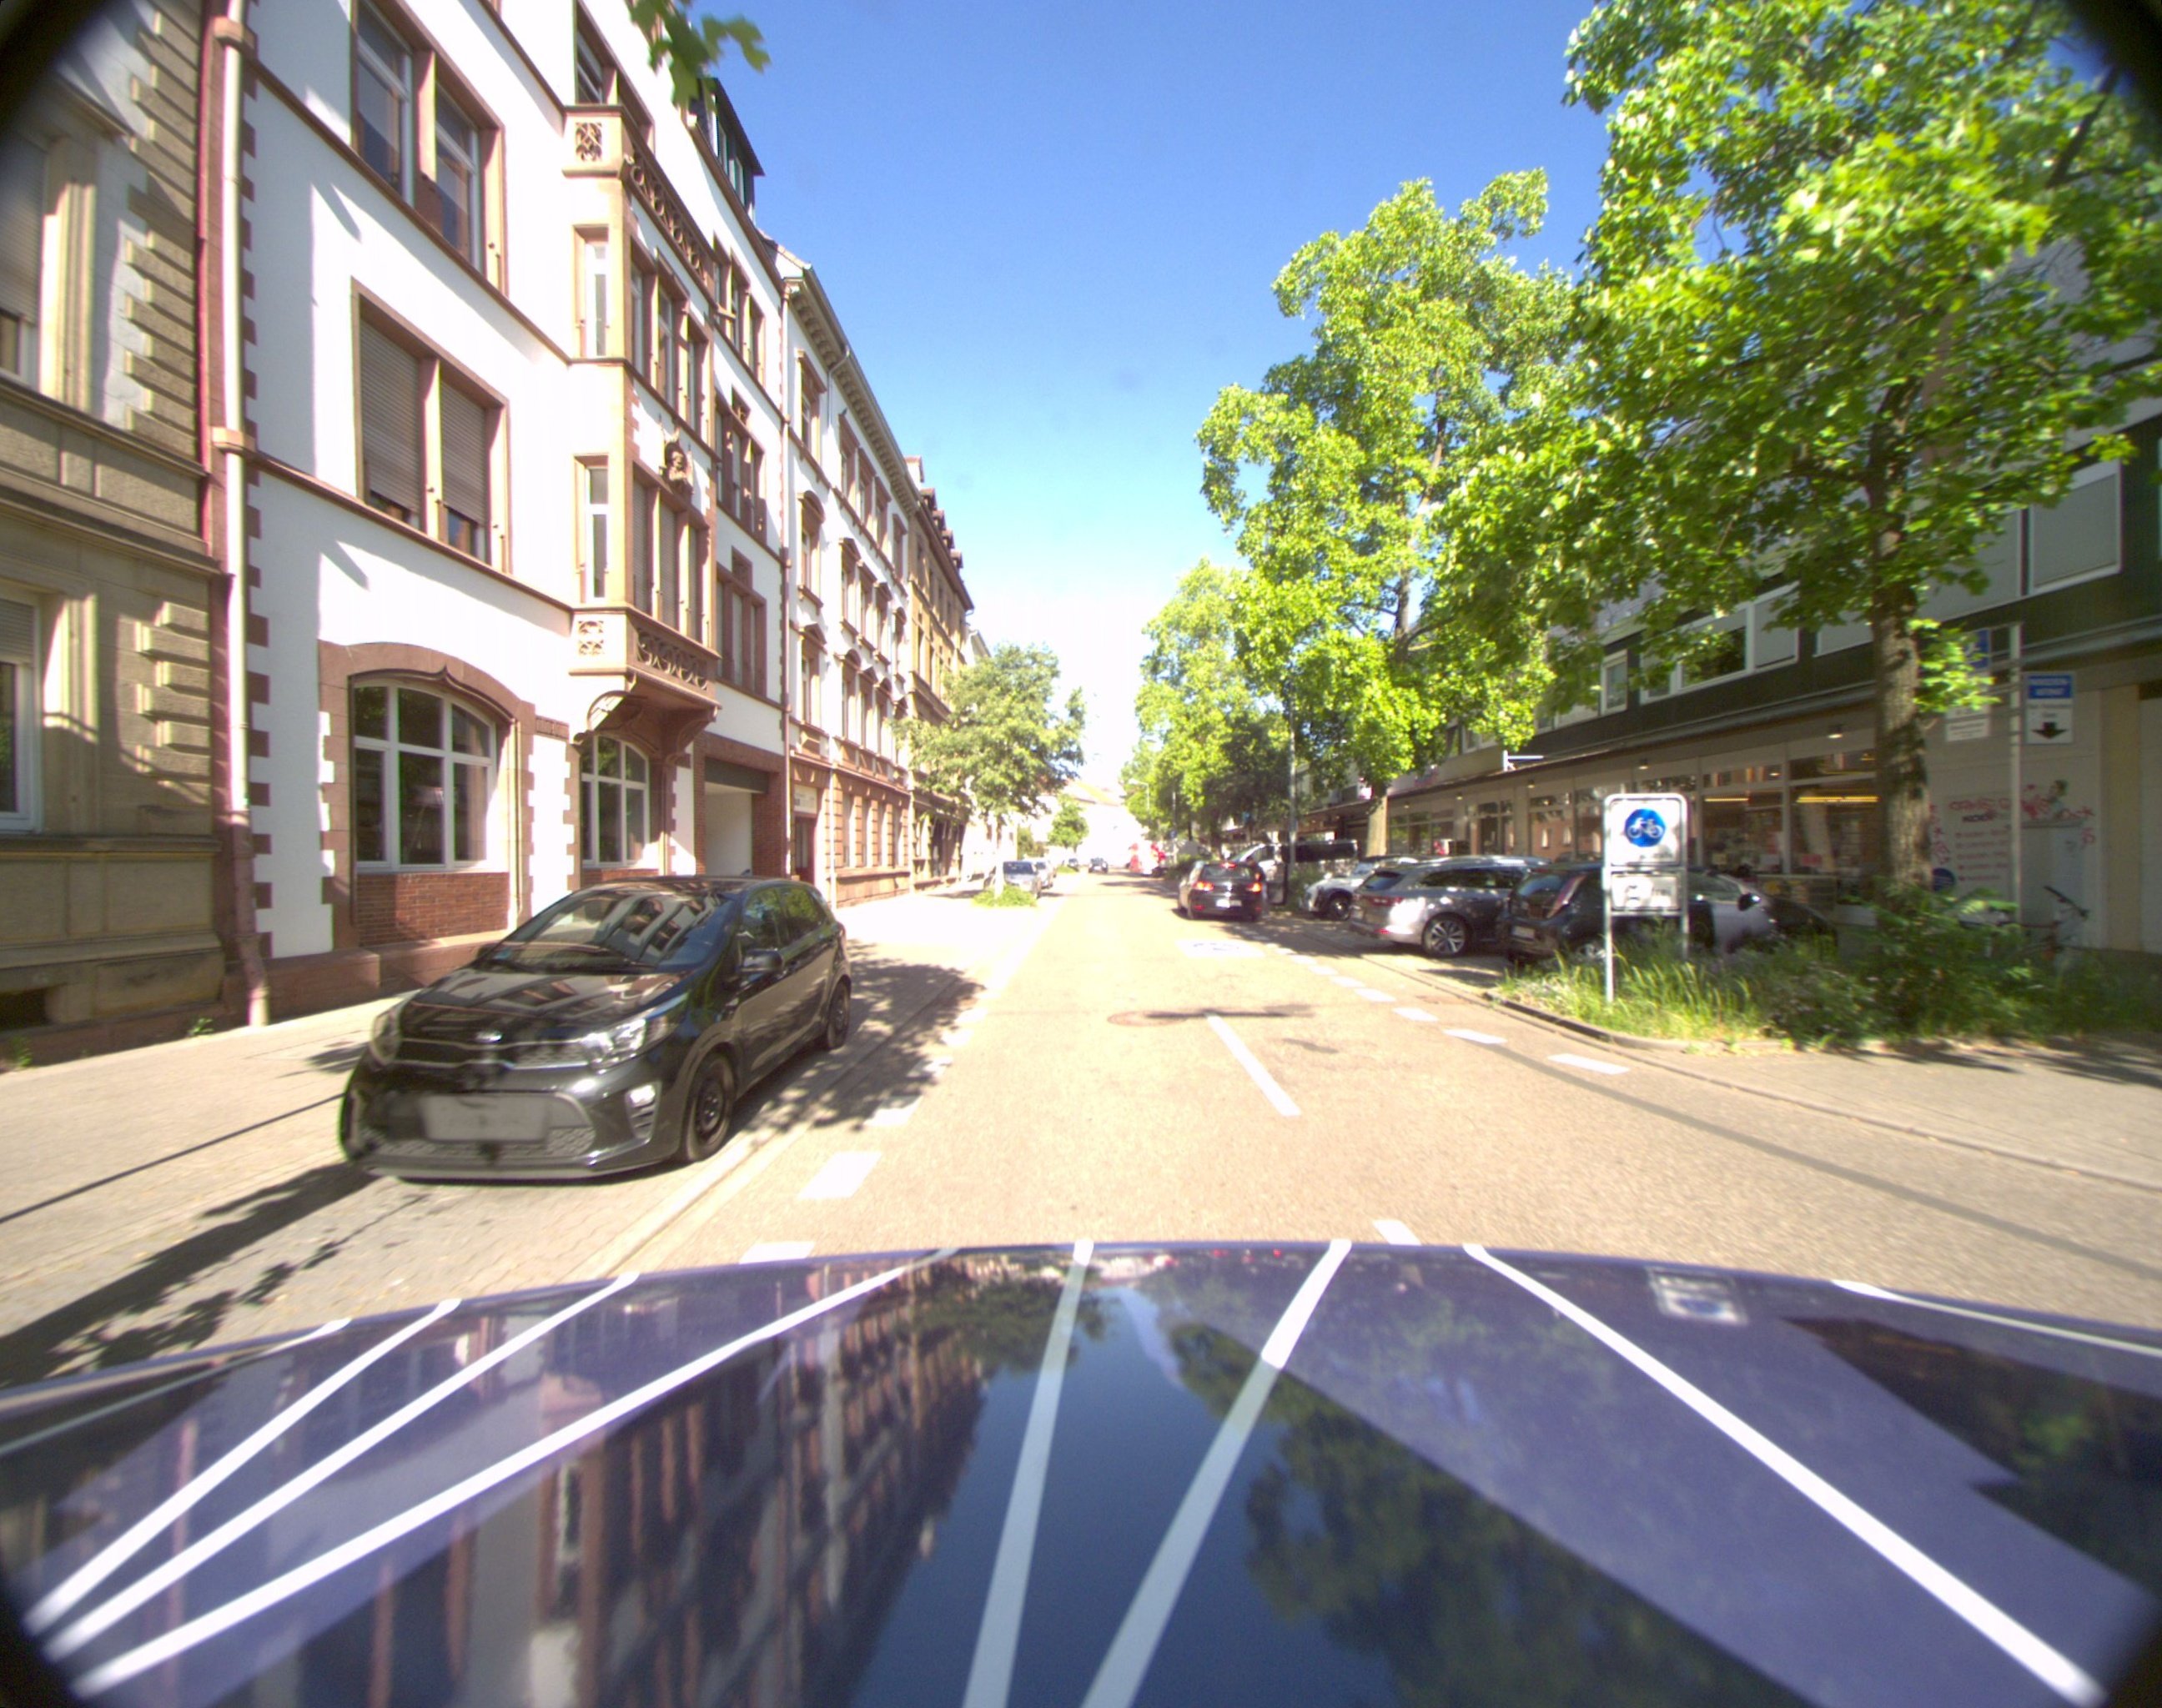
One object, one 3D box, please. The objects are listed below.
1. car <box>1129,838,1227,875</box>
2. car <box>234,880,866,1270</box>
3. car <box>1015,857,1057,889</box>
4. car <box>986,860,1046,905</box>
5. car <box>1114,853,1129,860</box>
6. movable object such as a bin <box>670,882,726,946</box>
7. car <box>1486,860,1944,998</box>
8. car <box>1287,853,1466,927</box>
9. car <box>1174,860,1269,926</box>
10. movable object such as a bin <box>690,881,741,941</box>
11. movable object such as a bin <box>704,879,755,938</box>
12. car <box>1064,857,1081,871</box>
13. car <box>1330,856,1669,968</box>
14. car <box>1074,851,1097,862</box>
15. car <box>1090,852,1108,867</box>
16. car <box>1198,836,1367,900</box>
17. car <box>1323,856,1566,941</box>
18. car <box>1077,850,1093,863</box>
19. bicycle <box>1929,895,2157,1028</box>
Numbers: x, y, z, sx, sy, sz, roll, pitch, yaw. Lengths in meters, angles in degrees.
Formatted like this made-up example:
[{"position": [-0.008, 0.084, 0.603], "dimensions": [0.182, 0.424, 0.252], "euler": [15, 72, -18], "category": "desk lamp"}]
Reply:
[{"position": [6.866, 0.145, 53.536], "dimensions": [6.609, 2.459, 1.997], "euler": [-1, 1, -20], "category": "car"}, {"position": [-2.750, 0.999, 4.996], "dimensions": [1.640, 1.467, 3.579], "euler": [2, 0, -1], "category": "car"}, {"position": [-2.149, 0.887, 37.300], "dimensions": [1.743, 1.443, 4.000], "euler": [-1, 0, 0], "category": "car"}, {"position": [-2.268, 0.978, 27.512], "dimensions": [1.743, 1.443, 4.307], "euler": [-1, 0, 0], "category": "car"}, {"position": [7.719, 0.467, 144.141], "dimensions": [1.632, 1.412, 3.299], "euler": [-1, 0, 24], "category": "car"}, {"position": [-6.720, 1.040, 13.351], "dimensions": [0.639, 1.063, 0.632], "euler": [-1, 1, 1], "category": "movable object such as a bin"}, {"position": [7.706, 0.872, 9.543], "dimensions": [4.315, 1.425, 1.644], "euler": [-2, 1, 1], "category": "car"}, {"position": [7.004, 0.795, 18.144], "dimensions": [3.610, 1.543, 1.682], "euler": [-2, 1, -9], "category": "car"}, {"position": [3.464, 0.914, 19.383], "dimensions": [1.767, 1.430, 3.960], "euler": [0, 1, 1], "category": "car"}, {"position": [-6.699, 1.037, 13.944], "dimensions": [0.639, 1.063, 0.521], "euler": [-1, 1, 1], "category": "movable object such as a bin"}, {"position": [-6.699, 1.031, 14.506], "dimensions": [0.639, 1.063, 0.639], "euler": [-1, 1, 1], "category": "movable object such as a bin"}, {"position": [-0.943, 1.162, 87.450], "dimensions": [1.720, 1.445, 4.000], "euler": [0, 1, 2], "category": "car"}, {"position": [6.373, 0.861, 11.969], "dimensions": [4.315, 1.452, 1.762], "euler": [-2, 1, 3], "category": "car"}, {"position": [0.771, 0.390, 129.455], "dimensions": [1.908, 1.924, 4.818], "euler": [-1, 0, 28], "category": "car"}, {"position": [1.756, 0.490, 74.859], "dimensions": [1.612, 1.444, 3.295], "euler": [-1, 0, 0], "category": "car"}, {"position": [6.871, 0.468, 26.347], "dimensions": [5.305, 1.963, 2.015], "euler": [-2, 1, 1], "category": "car"}, {"position": [7.151, 0.838, 15.200], "dimensions": [3.998, 1.455, 1.812], "euler": [-2, 1, -4], "category": "car"}, {"position": [0.514, 0.295, 94.254], "dimensions": [1.861, 1.499, 4.000], "euler": [-1, 0, 1], "category": "car"}, {"position": [9.140, 0.974, 7.300], "dimensions": [0.467, 1.072, 1.343], "euler": [-1, 1, -2], "category": "bicycle"}]
